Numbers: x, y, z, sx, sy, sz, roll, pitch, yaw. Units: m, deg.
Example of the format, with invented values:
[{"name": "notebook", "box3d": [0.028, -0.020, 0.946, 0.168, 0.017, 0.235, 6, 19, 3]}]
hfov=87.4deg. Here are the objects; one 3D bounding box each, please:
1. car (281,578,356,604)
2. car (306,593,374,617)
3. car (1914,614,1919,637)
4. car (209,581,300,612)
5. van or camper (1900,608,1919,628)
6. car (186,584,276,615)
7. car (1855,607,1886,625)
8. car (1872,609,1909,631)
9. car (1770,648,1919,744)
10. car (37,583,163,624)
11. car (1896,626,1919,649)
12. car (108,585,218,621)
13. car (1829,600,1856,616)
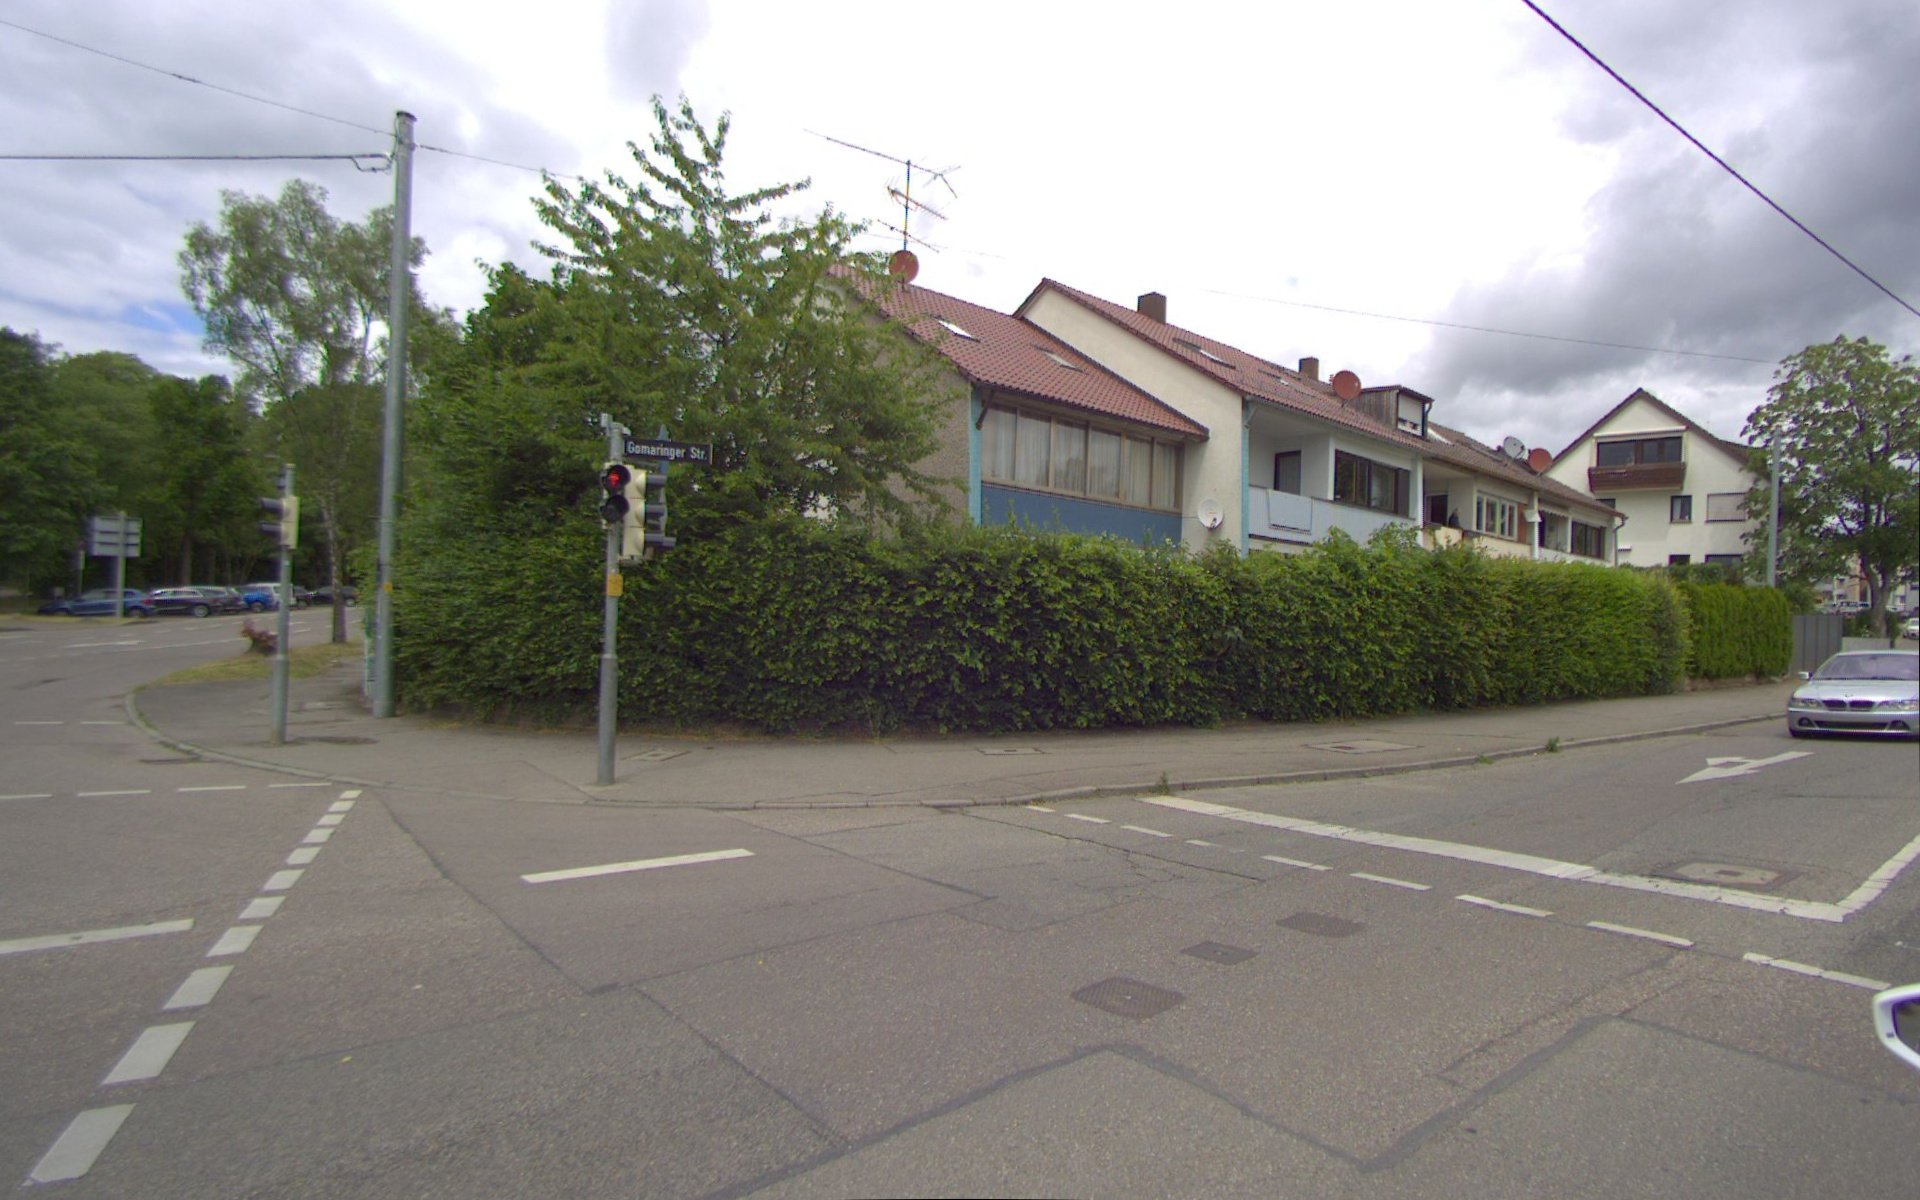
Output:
[{"name": "car", "box3d": [-45.806, -0.642, 71.862, 4.369, 1.630, 1.983, 3, -1, -31]}, {"name": "car", "box3d": [-48.936, 0.389, 79.382, 4.361, 1.630, 1.987, 3, -1, -26]}, {"name": "car", "box3d": [87.407, 2.367, 89.943, 2.123, 2.041, 3.988, 3, 2, 34]}, {"name": "car", "box3d": [-42.793, -0.198, 60.955, 4.383, 1.630, 1.977, 3, -1, -40]}, {"name": "van or camper", "box3d": [102.607, 1.945, 107.450, 1.967, 2.093, 5.925, 5, 3, 35]}, {"name": "car", "box3d": [-40.954, -0.002, 56.513, 3.960, 1.505, 1.900, 4, -1, -35]}, {"name": "car", "box3d": [108.531, 1.887, 119.795, 2.123, 2.041, 3.988, 3, 2, 34]}, {"name": "car", "box3d": [96.616, 2.061, 104.294, 2.123, 2.041, 3.988, 3, 2, 34]}, {"name": "car", "box3d": [14.842, 1.494, 16.239, 4.045, 1.371, 1.701, 2, -5, -37]}, {"name": "car", "box3d": [-37.302, 0.168, 43.700, 3.965, 1.505, 1.898, 4, 0, -38]}, {"name": "car", "box3d": [66.035, 2.580, 69.307, 1.704, 1.477, 3.883, -3, -2, 37]}, {"name": "car", "box3d": [-38.710, 0.133, 48.917, 3.960, 1.505, 1.900, 4, -1, -35]}, {"name": "car", "box3d": [118.476, 1.051, 134.956, 2.123, 2.041, 3.988, 3, 2, 34]}]
